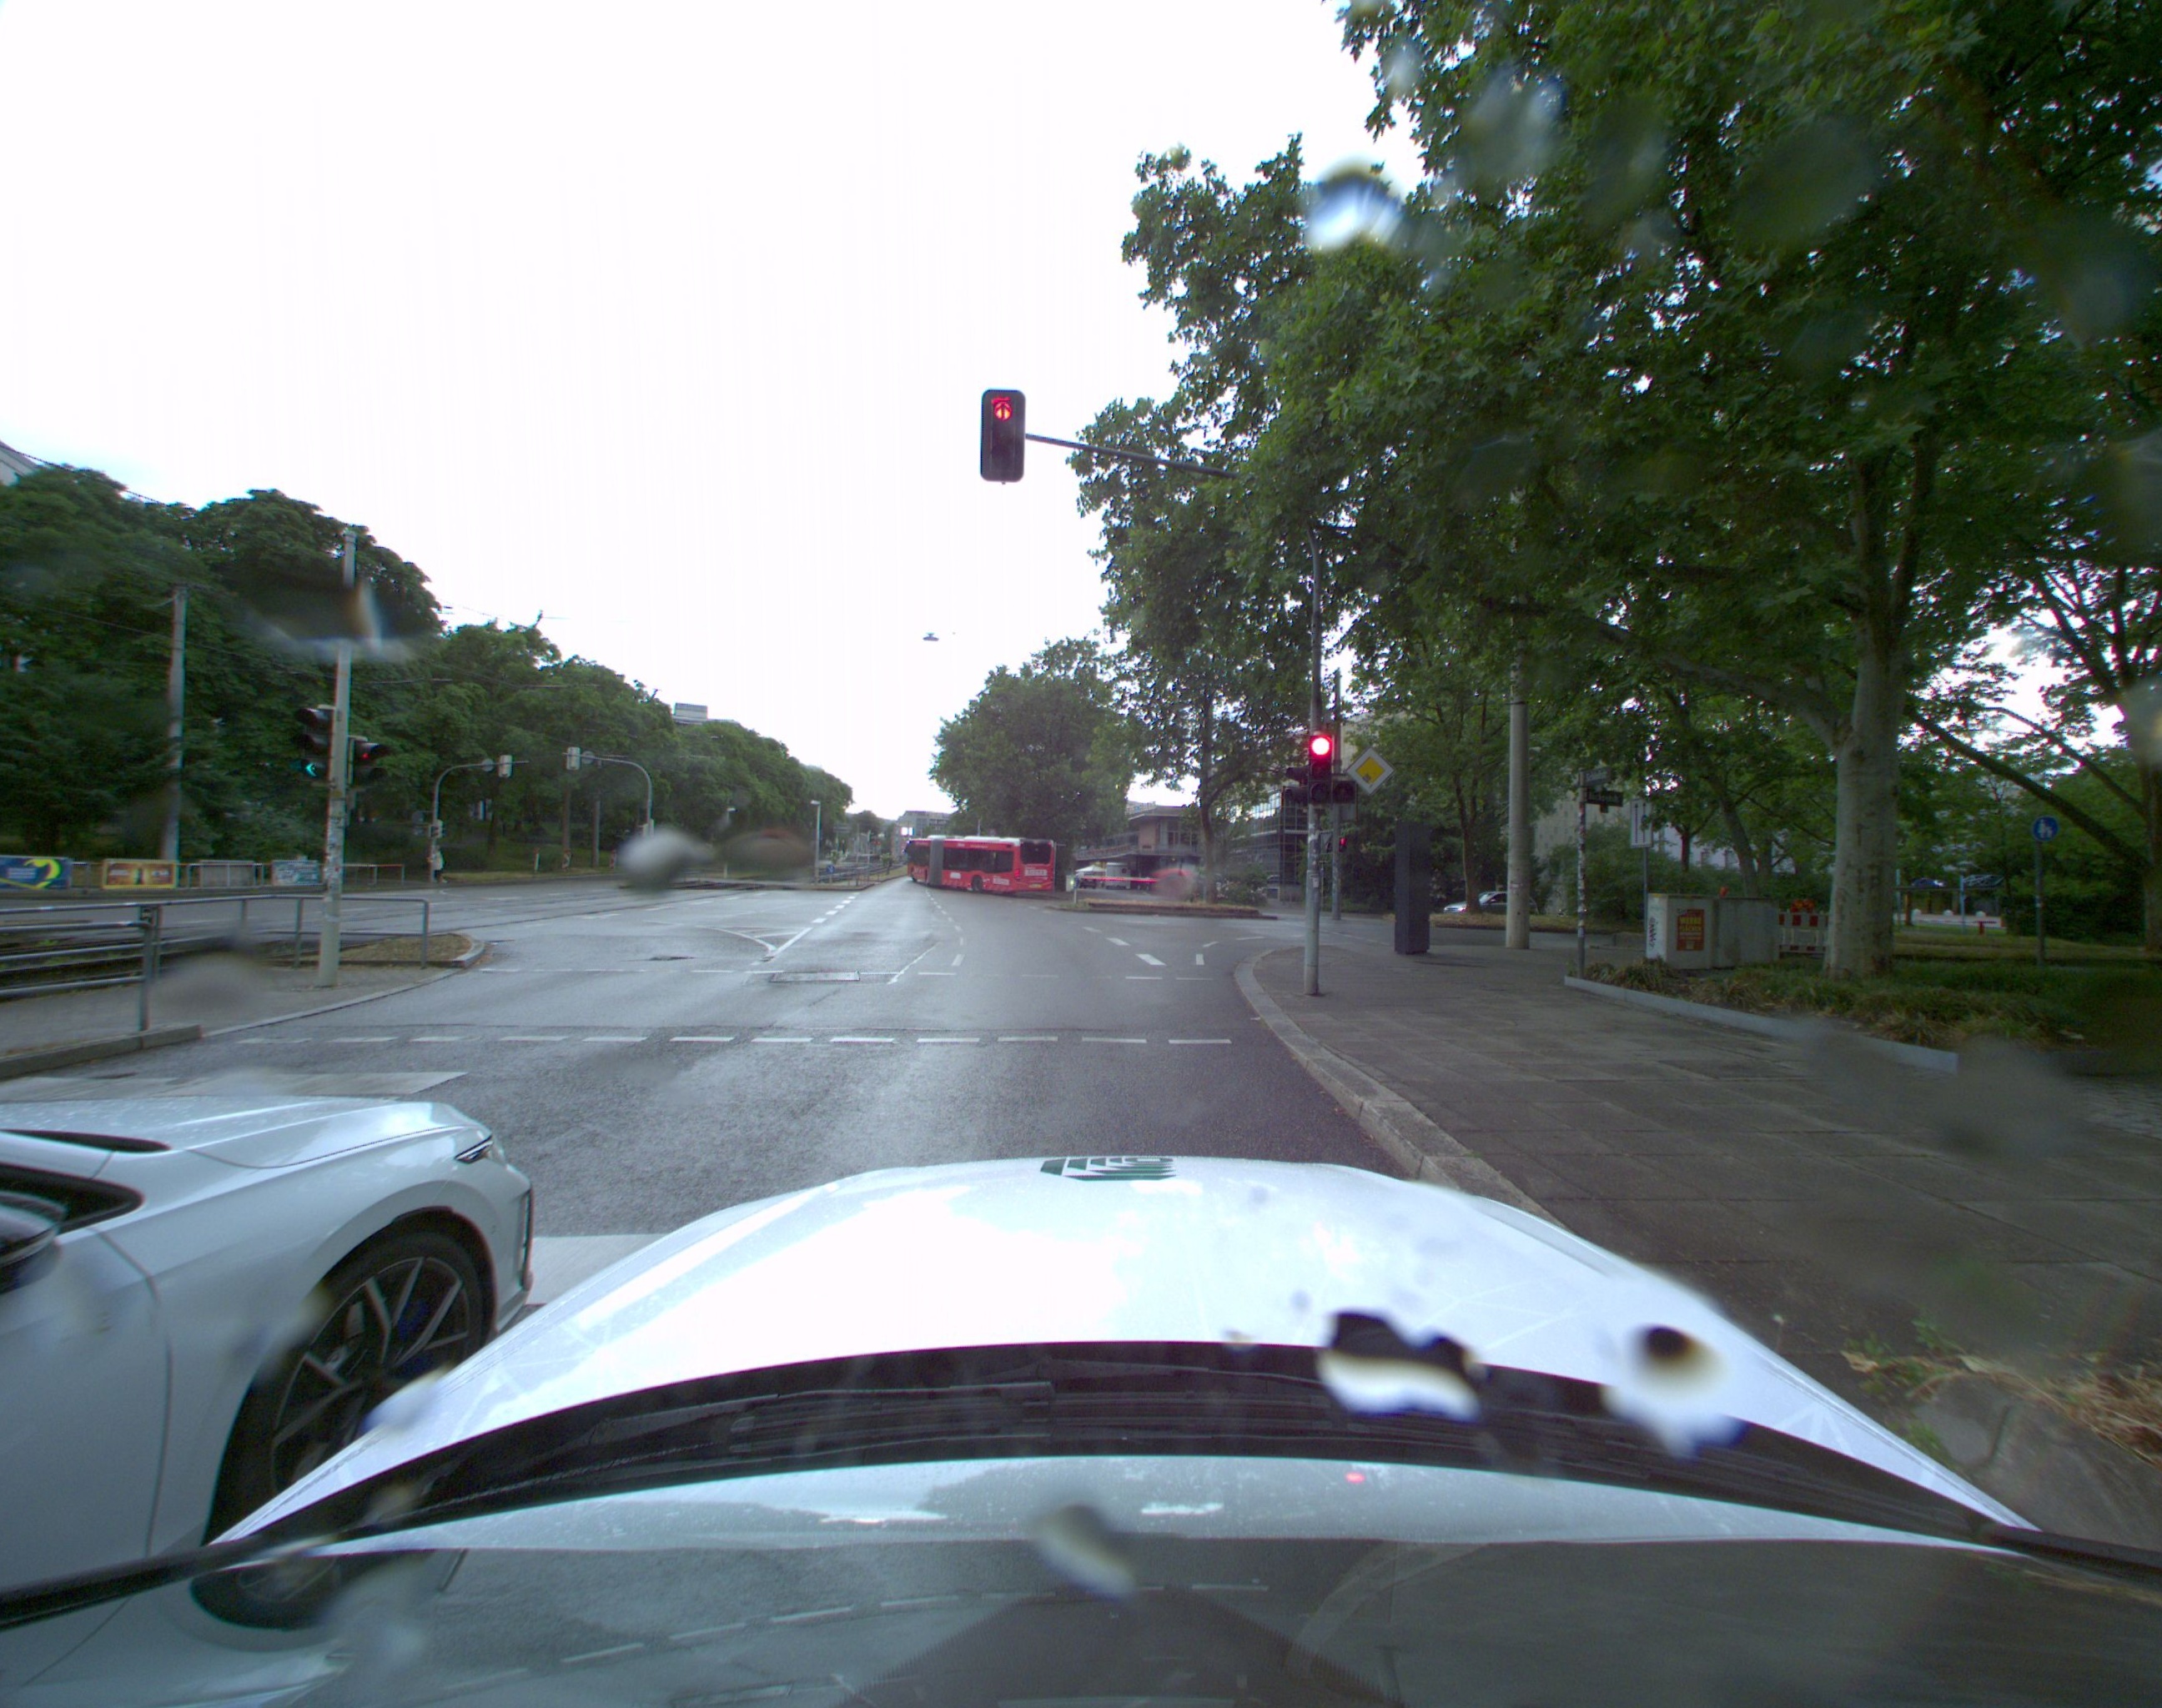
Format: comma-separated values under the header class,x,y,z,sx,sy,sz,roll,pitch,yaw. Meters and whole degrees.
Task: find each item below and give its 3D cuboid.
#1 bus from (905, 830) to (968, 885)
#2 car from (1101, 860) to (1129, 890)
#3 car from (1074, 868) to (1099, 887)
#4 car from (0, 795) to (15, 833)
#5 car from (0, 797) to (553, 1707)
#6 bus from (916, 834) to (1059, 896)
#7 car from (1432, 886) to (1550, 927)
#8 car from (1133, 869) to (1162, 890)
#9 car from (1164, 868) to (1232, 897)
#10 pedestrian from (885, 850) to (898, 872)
class,x,y,z,sx,sy,sz,roll,pitch,yaw
bus,-9.436,0.247,52.257,2.557,3.111,9.398,3,-1,-18
car,3.771,2.323,90.834,2.539,3.134,5.024,3,-1,-3
car,0.540,2.528,88.276,1.993,1.860,3.987,3,-1,-9
car,-52.934,-2.001,38.139,2.005,1.794,4.172,4,-2,-28
car,-2.435,0.694,0.233,1.673,1.576,4.254,1,0,2
bus,-5.381,0.512,45.212,2.678,3.111,9.072,4,-2,-45
car,17.318,2.203,34.516,3.980,1.442,1.997,3,-2,-5
car,6.918,2.661,84.669,1.994,2.014,3.985,3,-1,-10
car,8.945,2.167,62.186,4.762,1.943,1.986,3,-2,-20
pedestrian,-14.608,0.578,62.859,0.736,1.640,0.870,3,-2,-2
